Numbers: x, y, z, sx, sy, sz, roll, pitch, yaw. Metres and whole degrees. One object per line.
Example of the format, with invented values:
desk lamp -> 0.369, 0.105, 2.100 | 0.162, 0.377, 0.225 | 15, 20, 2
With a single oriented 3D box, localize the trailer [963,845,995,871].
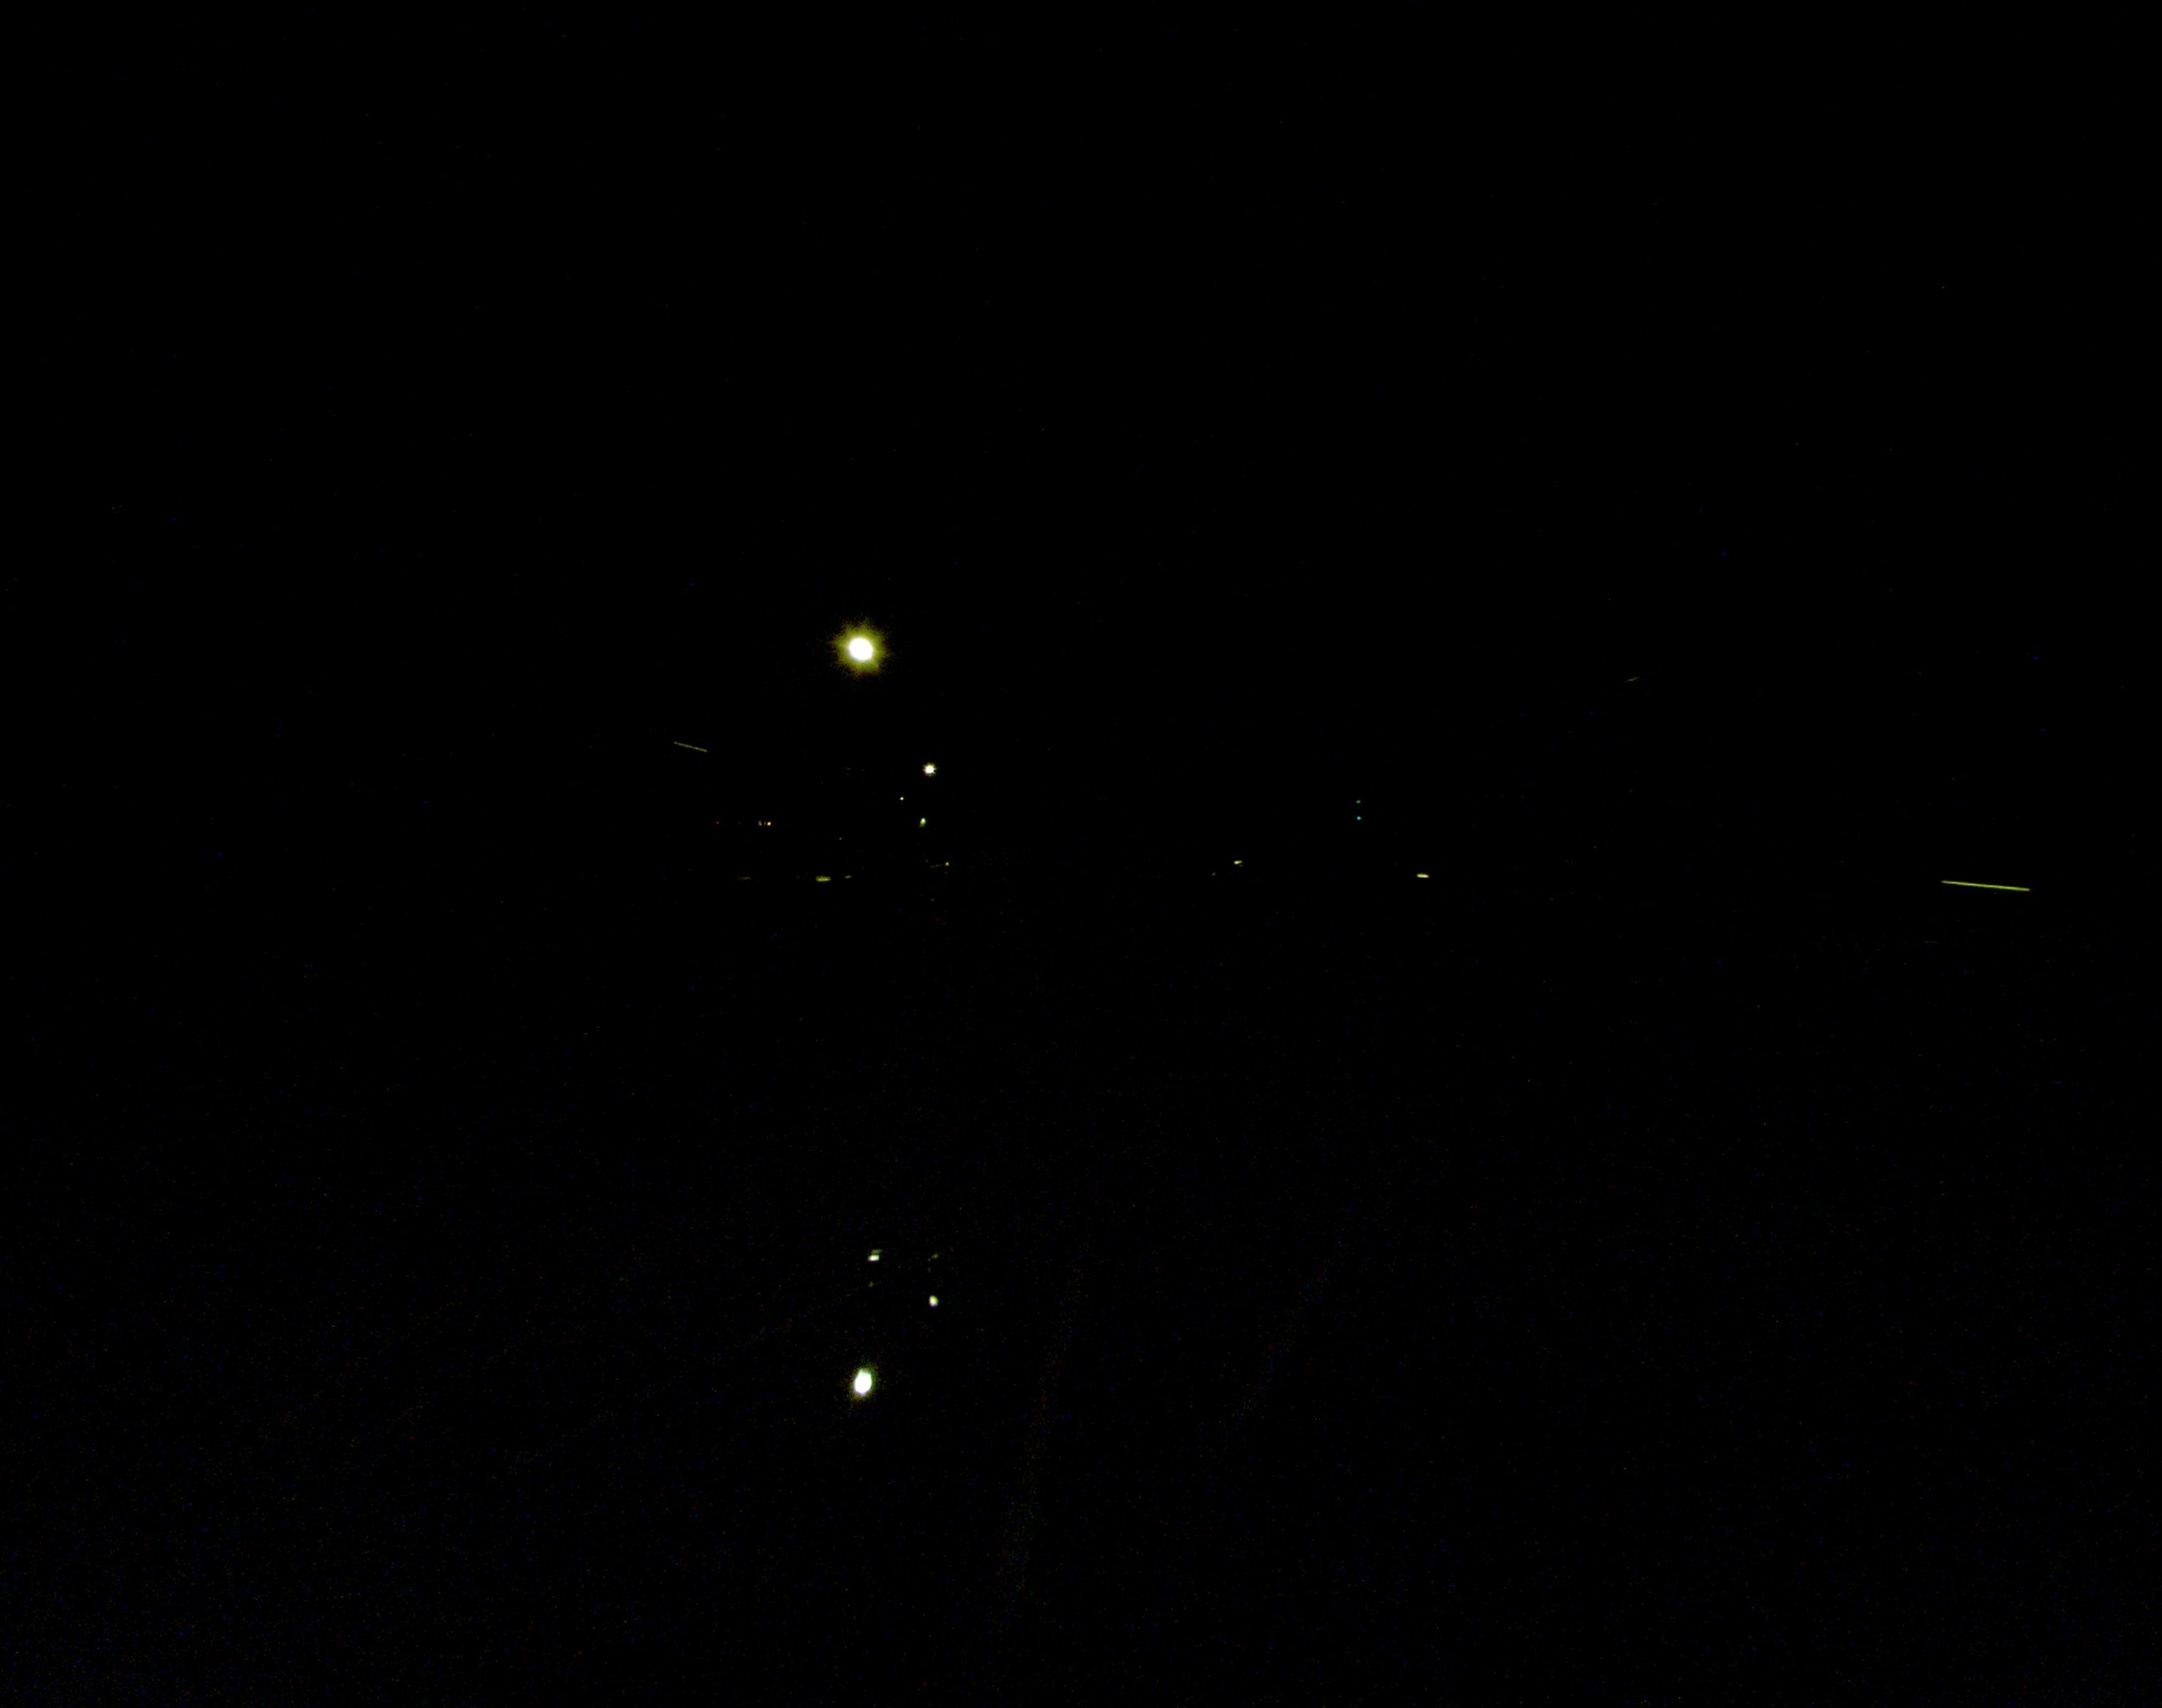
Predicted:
trailer -> -12.934, 0.505, 95.825 | 2.493, 3.055, 7.941 | -1, 0, -19

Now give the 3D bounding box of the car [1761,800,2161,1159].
car -> 6.346, 0.619, 3.670 | 1.834, 1.806, 4.838 | -1, 0, 1

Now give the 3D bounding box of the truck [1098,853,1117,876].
truck -> 3.158, 1.210, 91.271 | 2.138, 2.597, 7.099 | -1, 0, 1

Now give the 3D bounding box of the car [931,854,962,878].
car -> -12.136, 1.069, 68.279 | 2.001, 2.002, 5.347 | -3, 0, -17

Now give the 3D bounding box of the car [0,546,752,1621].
car -> -3.539, 0.556, 2.519 | 2.025, 2.512, 6.051 | -2, 0, 1

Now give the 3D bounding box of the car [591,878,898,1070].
car -> -3.588, 1.152, 9.176 | 1.715, 1.499, 4.639 | -3, 0, -2

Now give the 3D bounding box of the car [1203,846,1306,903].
car -> 6.003, 0.665, 26.930 | 2.000, 1.761, 4.689 | -1, 0, -8

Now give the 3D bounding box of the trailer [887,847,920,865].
trailer -> -21.039, 0.263, 90.081 | 1.498, 2.002, 4.971 | -1, 0, -42

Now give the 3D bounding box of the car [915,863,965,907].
car -> -5.393, 1.141, 29.449 | 1.716, 1.499, 3.997 | -2, 0, -9

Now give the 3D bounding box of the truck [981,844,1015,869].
truck -> -9.659, 0.327, 87.734 | 2.002, 2.767, 7.231 | -1, 0, -22

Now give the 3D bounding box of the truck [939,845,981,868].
truck -> -16.949, 0.341, 105.979 | 2.756, 3.047, 9.316 | -2, 0, -28

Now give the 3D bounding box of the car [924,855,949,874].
car -> -14.420, 1.045, 75.651 | 1.736, 1.769, 4.309 | -2, 1, -20

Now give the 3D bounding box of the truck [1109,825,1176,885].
truck -> 3.494, 0.070, 44.932 | 2.381, 3.224, 7.226 | -1, 0, -8

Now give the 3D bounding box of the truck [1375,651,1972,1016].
truck -> 6.811, -0.184, 10.567 | 2.550, 3.261, 7.311 | -1, 0, 0

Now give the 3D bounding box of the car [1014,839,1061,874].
car -> -4.384, 0.256, 74.507 | 2.392, 3.224, 7.218 | -2, 0, -22

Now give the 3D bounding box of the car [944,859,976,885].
car -> -7.723, 1.112, 48.200 | 1.614, 1.503, 3.821 | -4, 1, -14

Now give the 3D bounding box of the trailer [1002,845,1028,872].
trailer -> -7.065, 0.482, 81.323 | 2.005, 2.749, 3.994 | 0, -1, -17

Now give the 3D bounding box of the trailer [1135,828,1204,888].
trailer -> 4.380, 0.205, 38.277 | 2.212, 2.779, 4.612 | -1, 0, -9

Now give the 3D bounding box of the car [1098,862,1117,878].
car -> 2.893, 1.757, 82.324 | 1.862, 1.630, 4.000 | -1, 0, -1
